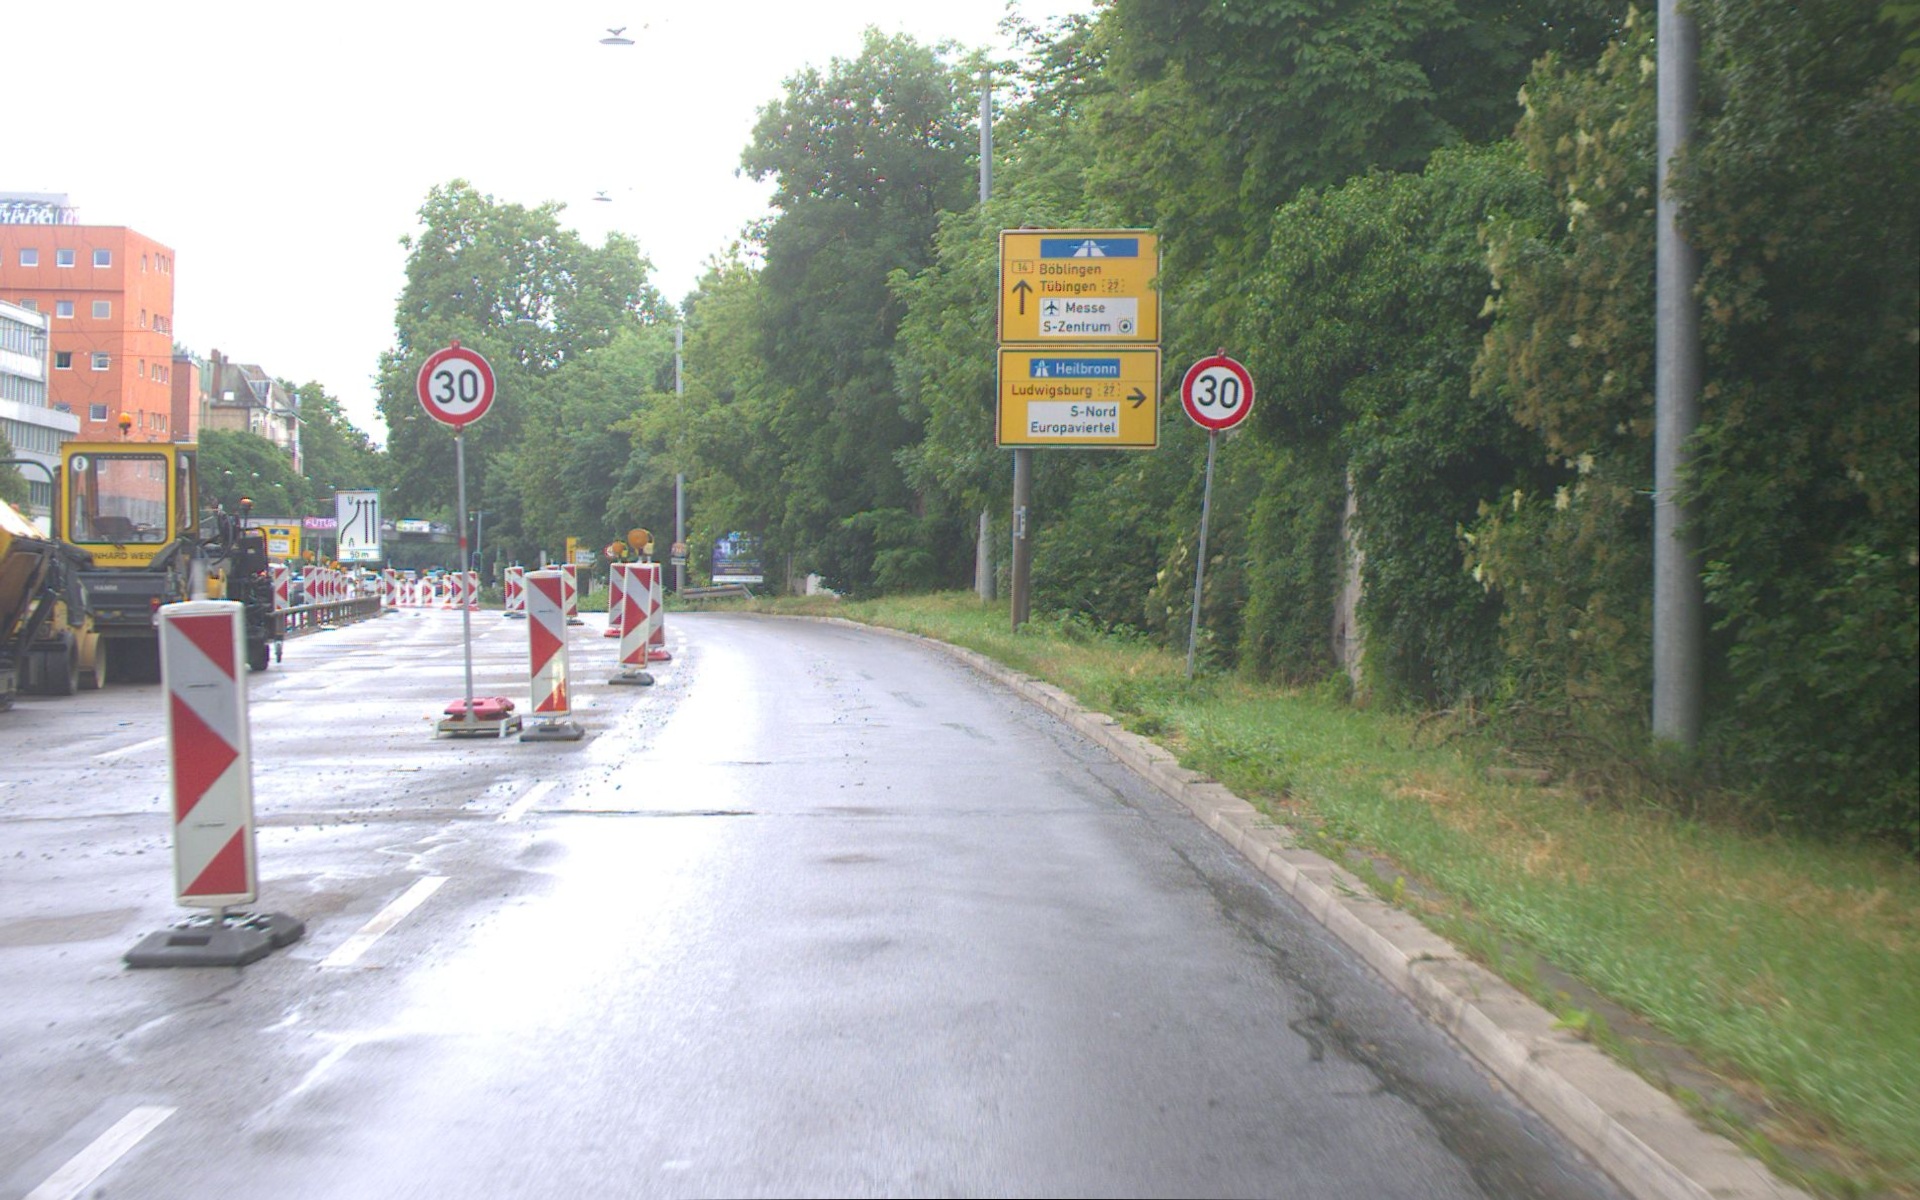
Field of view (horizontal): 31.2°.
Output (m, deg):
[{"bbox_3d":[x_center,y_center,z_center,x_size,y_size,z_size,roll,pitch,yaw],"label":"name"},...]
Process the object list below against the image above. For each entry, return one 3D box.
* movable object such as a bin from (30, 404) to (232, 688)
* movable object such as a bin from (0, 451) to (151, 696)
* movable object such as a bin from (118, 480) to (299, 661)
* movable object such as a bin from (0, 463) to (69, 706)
[{"bbox_3d":[-9.196,-0.597,38.373,1.465,2.998,3.724,-1,1,-2],"label":"movable object such as a bin"},{"bbox_3d":[-9.154,-0.273,34.940,1.410,2.393,2.406,-1,1,-4],"label":"movable object such as a bin"},{"bbox_3d":[-9.312,-0.376,42.800,1.715,2.142,3.350,-1,1,-4],"label":"movable object such as a bin"},{"bbox_3d":[-8.926,-0.139,29.436,1.362,2.083,5.030,1,1,-1],"label":"movable object such as a bin"}]
